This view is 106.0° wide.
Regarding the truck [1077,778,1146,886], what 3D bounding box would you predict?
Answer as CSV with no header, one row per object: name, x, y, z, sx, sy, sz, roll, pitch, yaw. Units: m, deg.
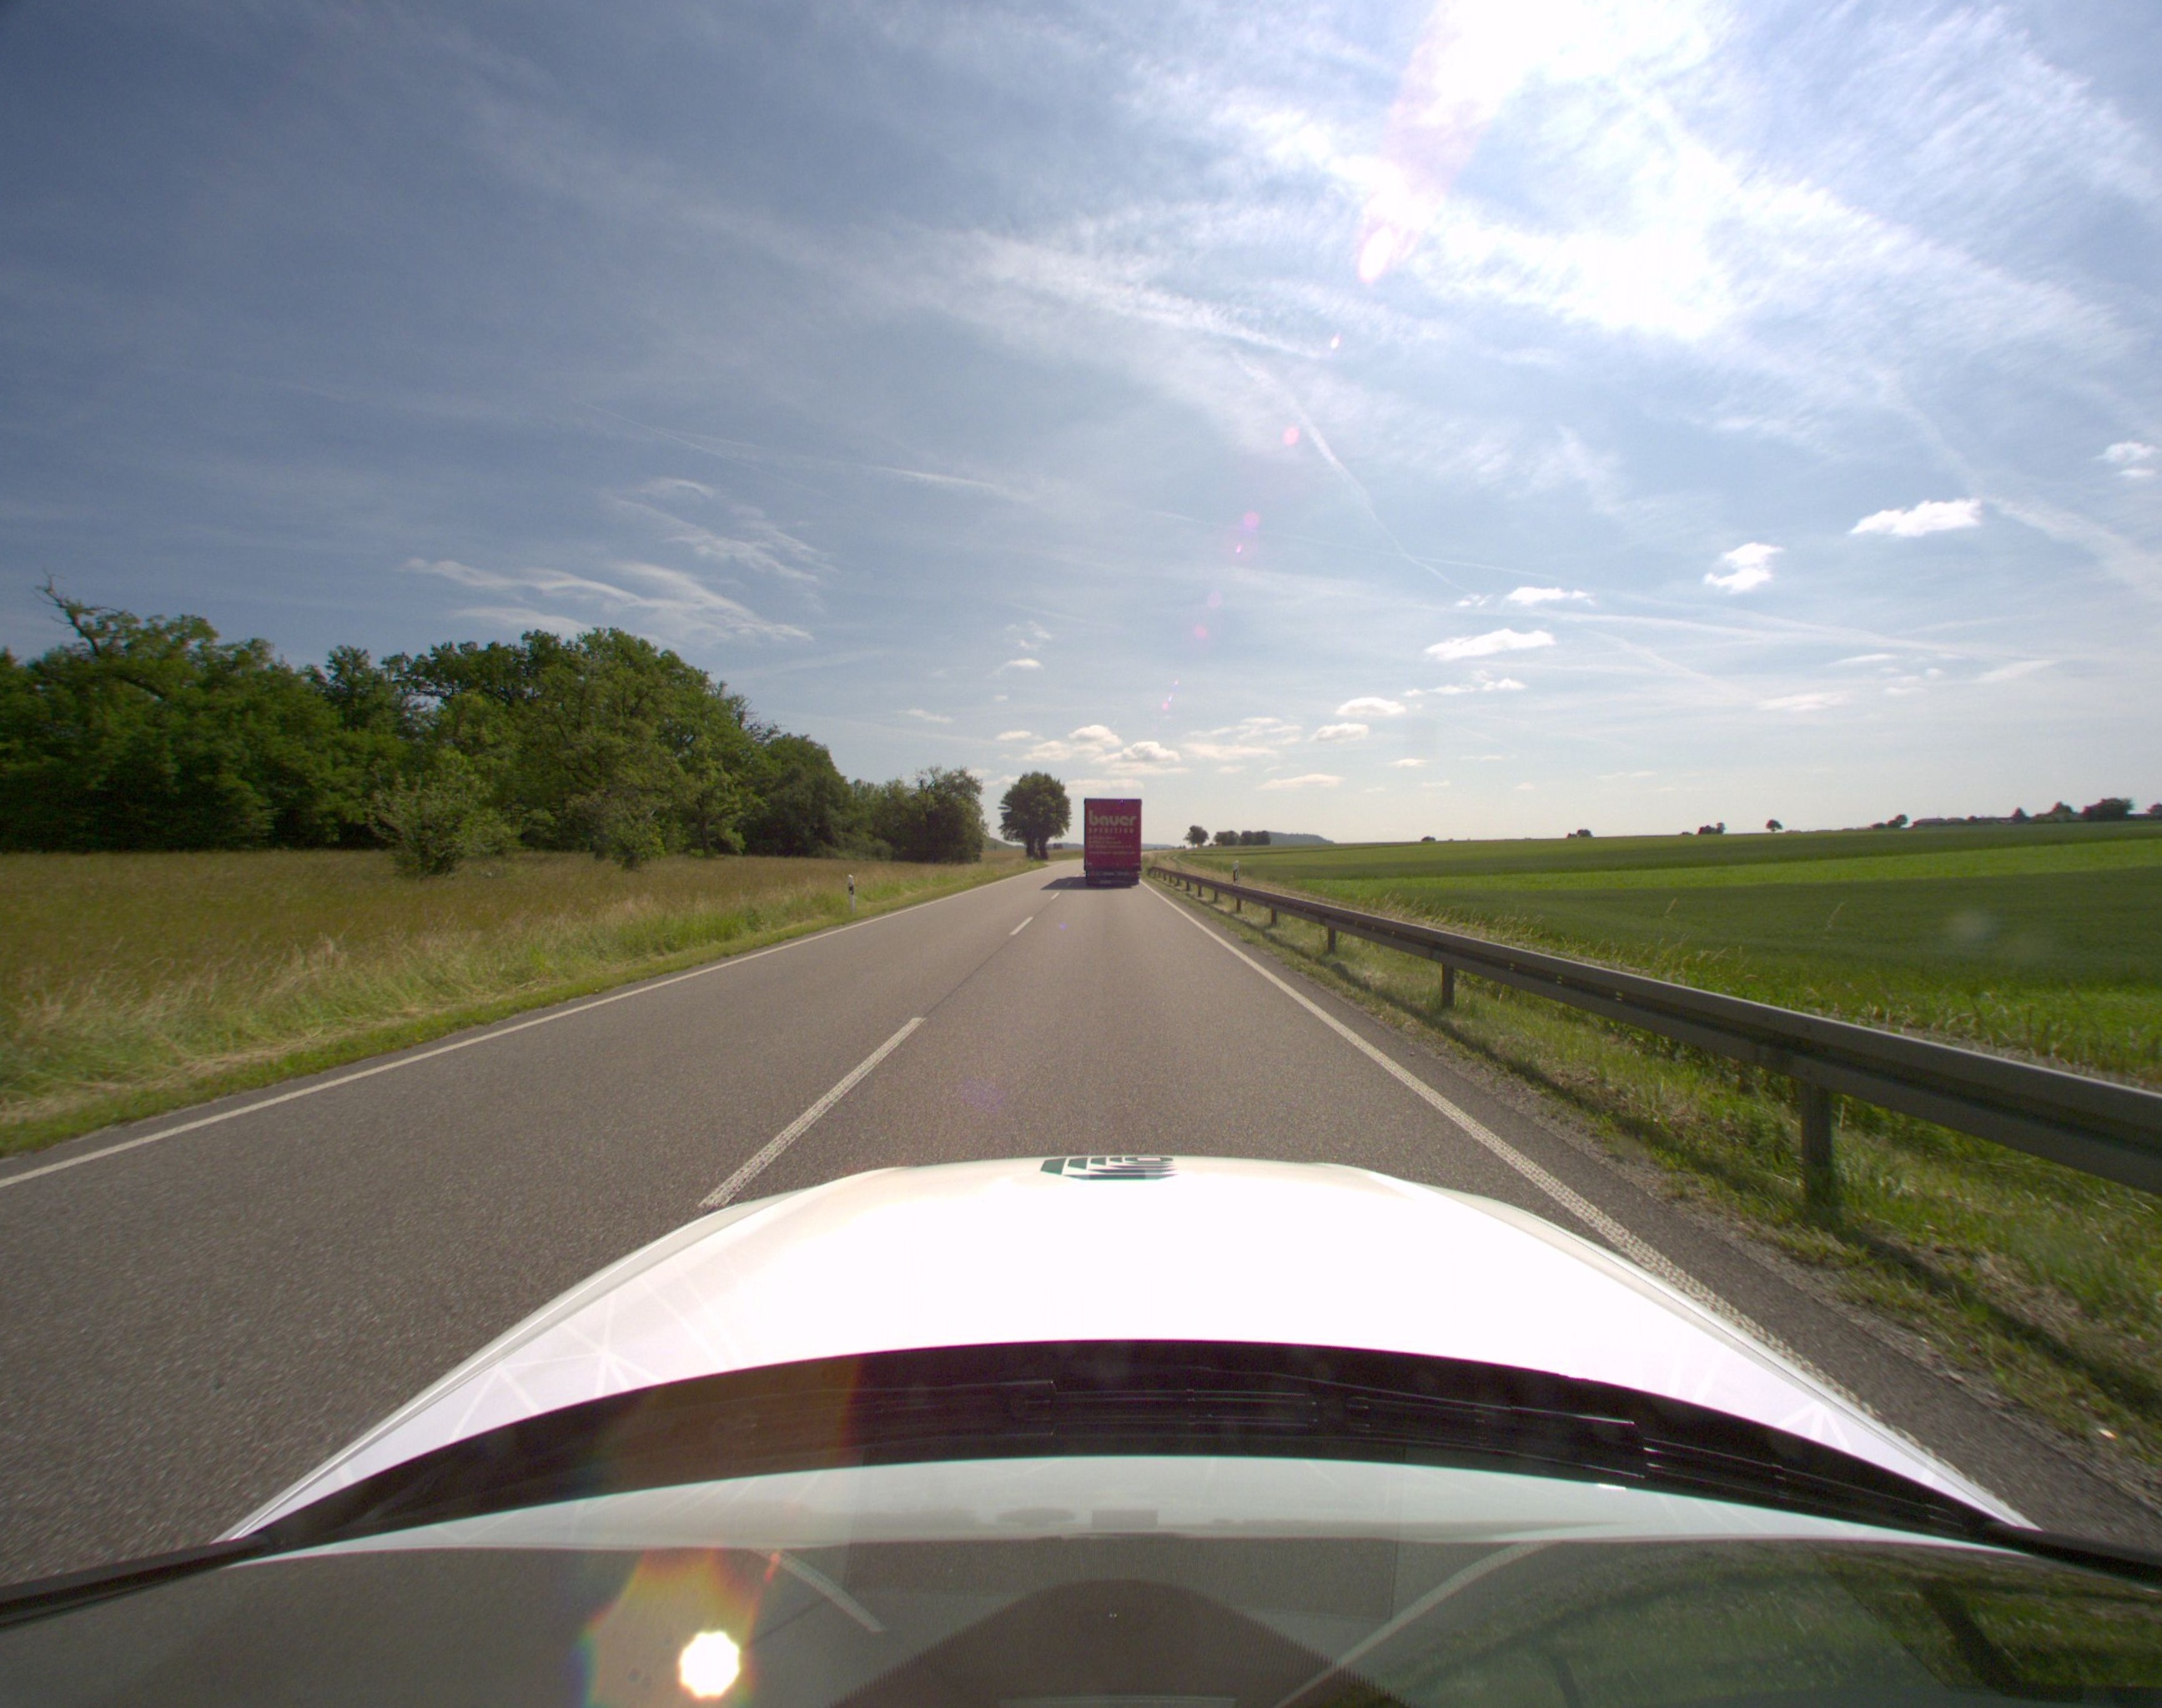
truck,1.382,-0.905,40.234,2.965,4.713,9.365,0,-1,1
